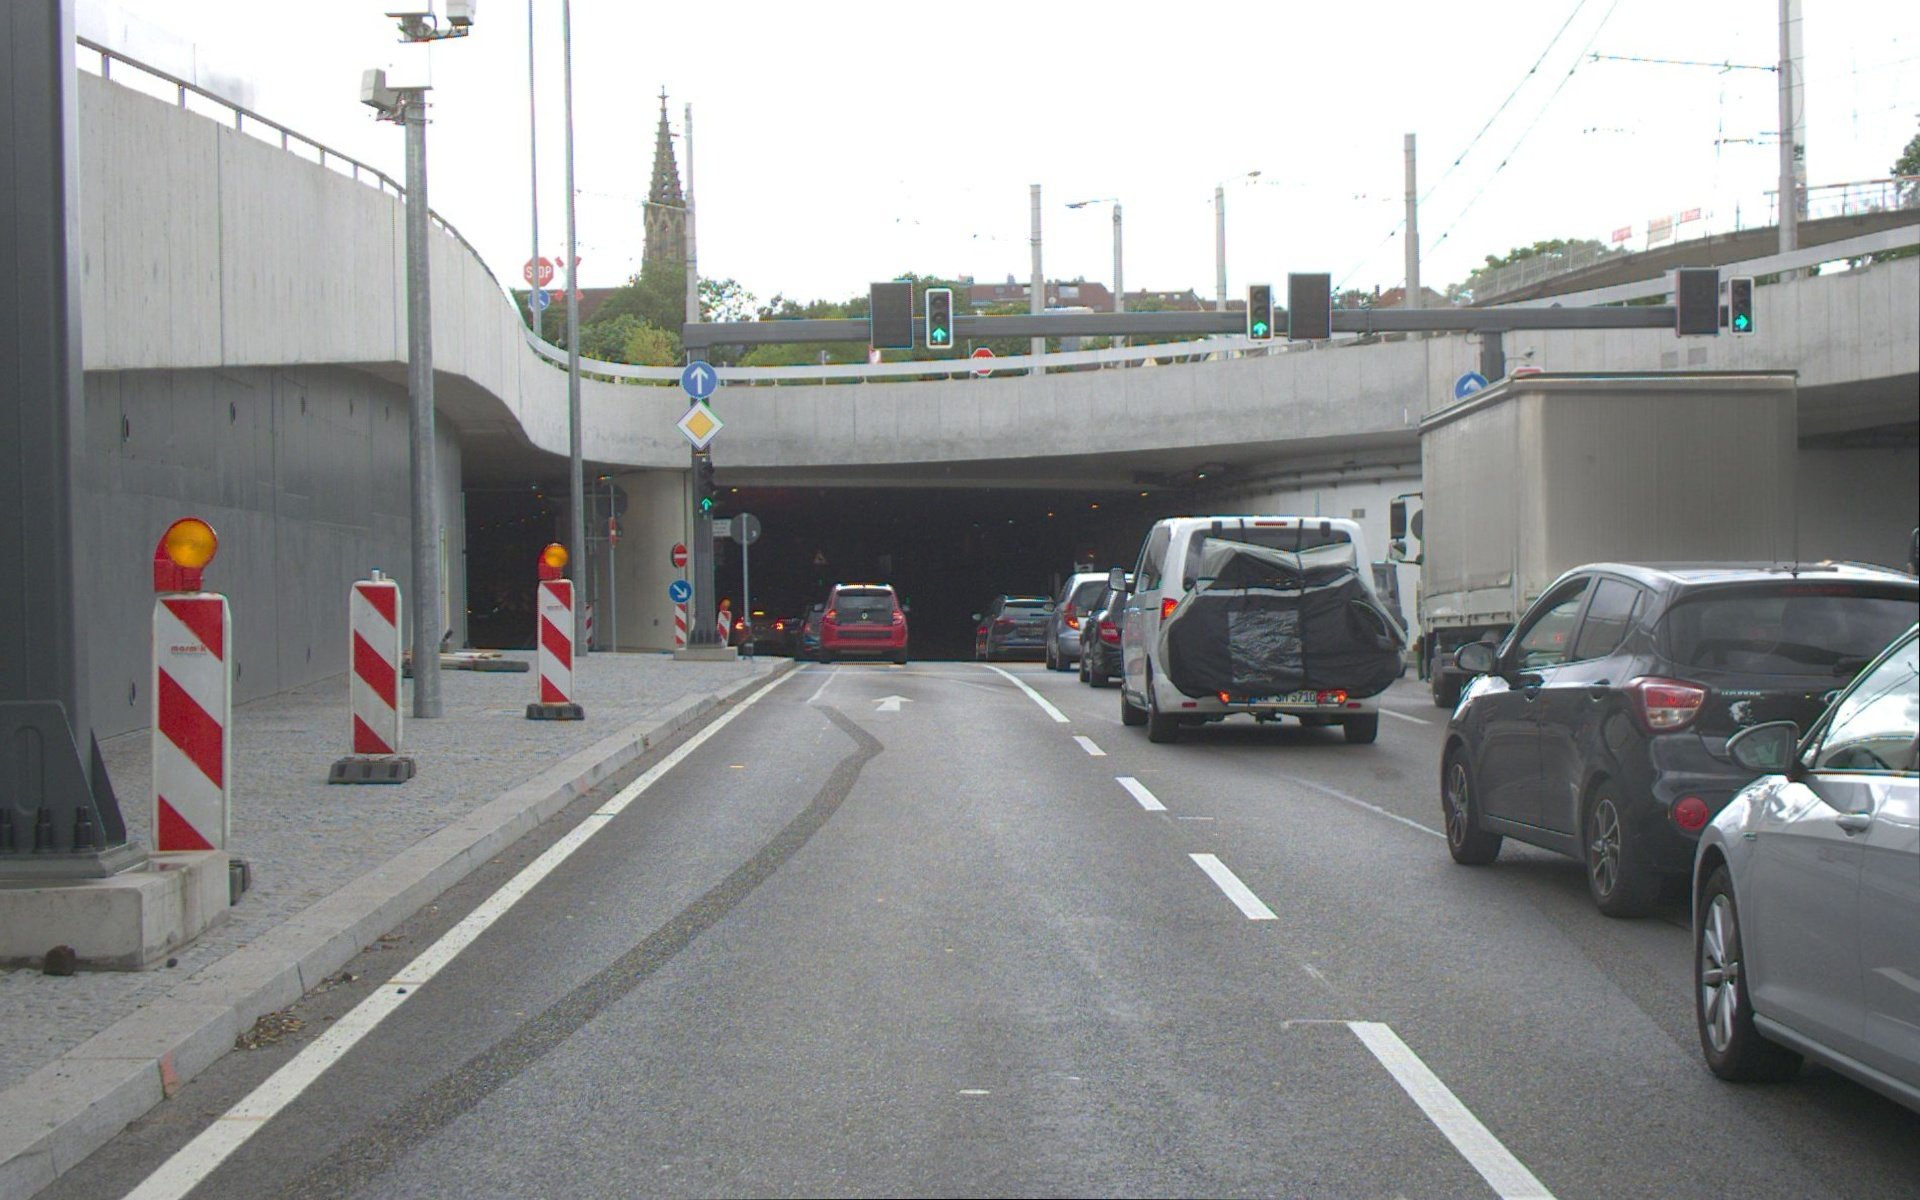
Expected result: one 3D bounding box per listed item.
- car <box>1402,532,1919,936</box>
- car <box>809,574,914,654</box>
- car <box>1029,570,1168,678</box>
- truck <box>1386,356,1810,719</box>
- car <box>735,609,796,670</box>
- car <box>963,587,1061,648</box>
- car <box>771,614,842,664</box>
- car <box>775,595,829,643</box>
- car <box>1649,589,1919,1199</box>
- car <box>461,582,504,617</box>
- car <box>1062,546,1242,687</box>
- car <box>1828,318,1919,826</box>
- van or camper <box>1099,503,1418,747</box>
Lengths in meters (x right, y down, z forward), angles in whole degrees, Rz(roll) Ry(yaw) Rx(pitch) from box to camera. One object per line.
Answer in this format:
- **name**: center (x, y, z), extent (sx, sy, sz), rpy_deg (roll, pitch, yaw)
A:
- **car**: center (3.159, 0.490, 15.174), extent (1.681, 1.539, 3.693), rpy_deg (1, 1, -4)
- **car**: center (-1.917, 0.286, 66.054), extent (1.660, 1.483, 3.567), rpy_deg (0, -1, -7)
- **car**: center (2.183, 0.365, 55.168), extent (1.818, 1.575, 4.000), rpy_deg (3, 0, -3)
- **truck**: center (6.101, -0.564, 34.106), extent (2.649, 3.174, 7.426), rpy_deg (-1, 0, -1)
- **car**: center (-6.798, 1.361, 120.562), extent (1.993, 2.007, 4.000), rpy_deg (0, 1, -1)
- **car**: center (1.083, 0.392, 73.232), extent (1.663, 1.243, 3.567), rpy_deg (0, -1, -6)
- **car**: center (-3.921, 0.998, 87.606), extent (1.508, 1.243, 3.567), rpy_deg (0, -1, -7)
- **car**: center (-6.112, 0.713, 132.929), extent (1.993, 1.767, 4.001), rpy_deg (0, 1, -4)
- **car**: center (2.967, 0.656, 8.258), extent (1.763, 1.378, 4.039), rpy_deg (-1, 0, 0)
- **car**: center (-20.298, -0.017, 146.283), extent (1.664, 1.436, 4.114), rpy_deg (-1, 0, -6)
- **car**: center (2.387, 0.175, 43.583), extent (1.818, 1.678, 4.001), rpy_deg (1, 1, -3)
- **car**: center (6.300, -0.123, 16.865), extent (2.075, 2.763, 7.327), rpy_deg (0, 1, -1)
- **van or camper**: center (2.397, 0.245, 29.033), extent (1.993, 1.839, 5.508), rpy_deg (1, -1, -2)
